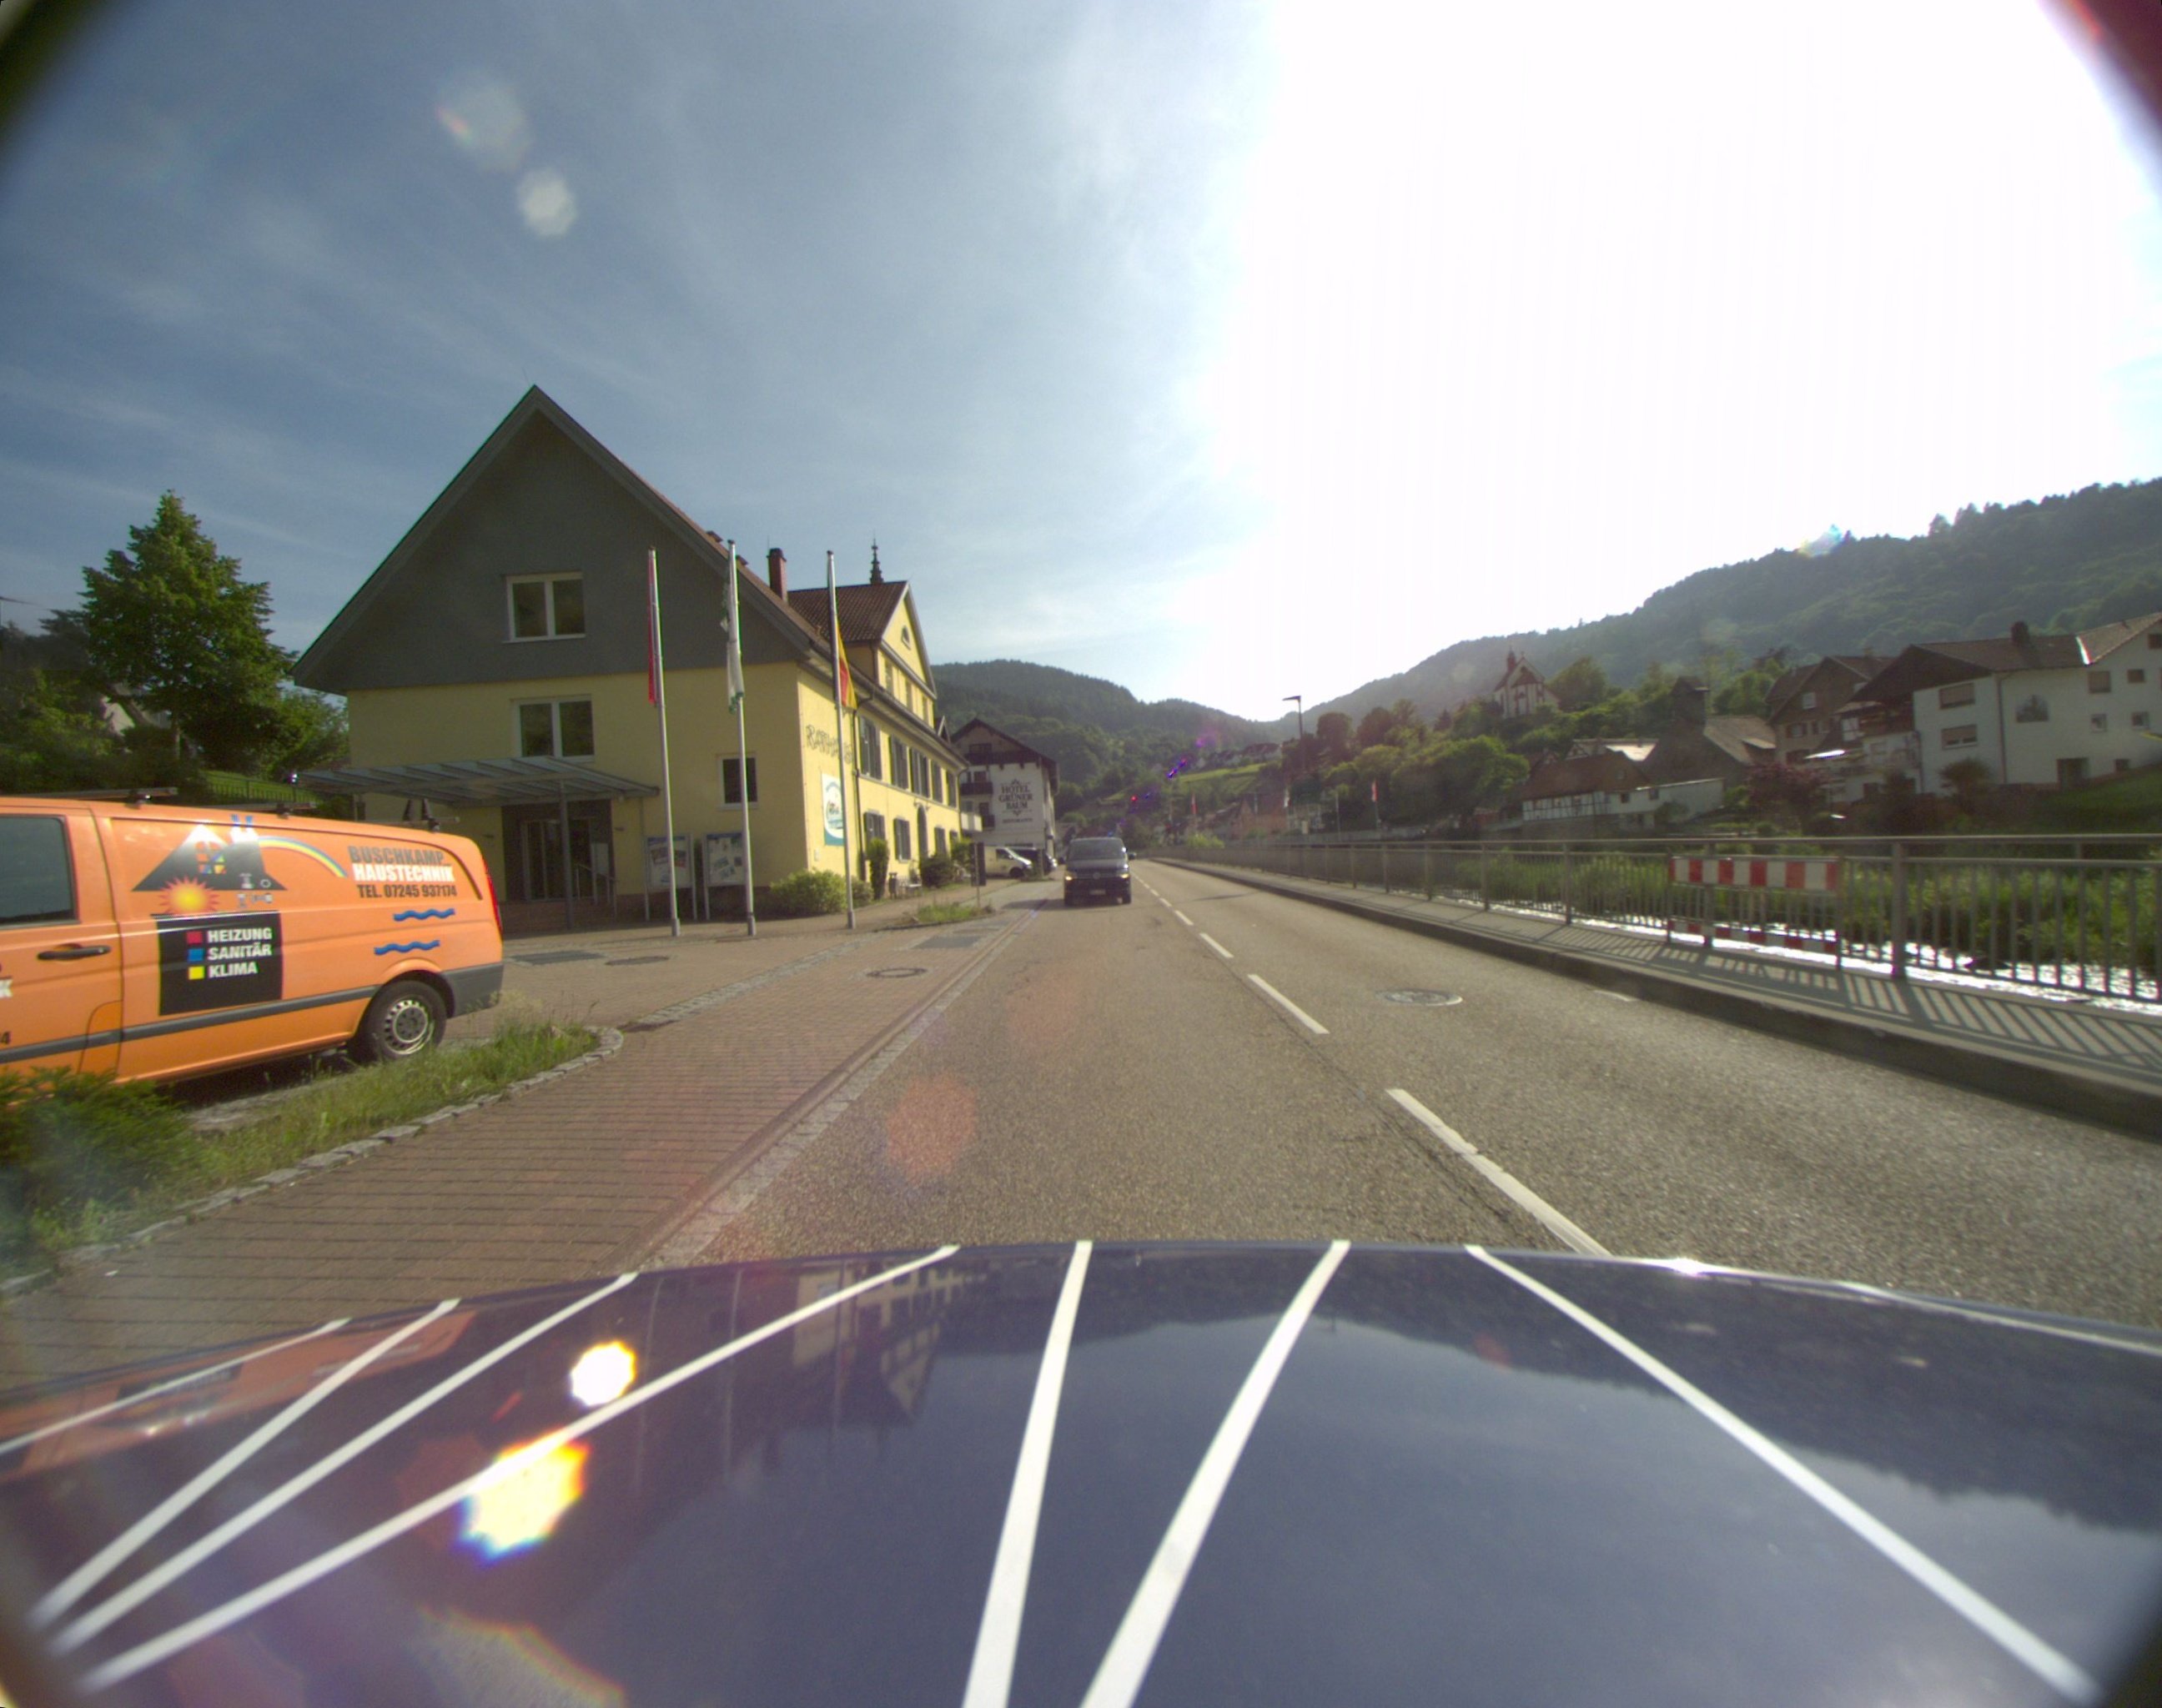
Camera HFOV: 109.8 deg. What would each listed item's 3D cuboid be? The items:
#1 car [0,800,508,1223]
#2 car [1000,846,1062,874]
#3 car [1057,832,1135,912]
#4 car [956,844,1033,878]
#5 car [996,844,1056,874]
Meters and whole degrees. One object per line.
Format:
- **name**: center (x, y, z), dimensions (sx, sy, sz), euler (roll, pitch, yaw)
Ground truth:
- **car**: center (-6.030, 0.772, 4.159), dimensions (1.913, 1.986, 4.835), euler (-2, 0, 2)
- **car**: center (-3.405, 0.385, 52.165), dimensions (3.995, 1.871, 1.685), euler (-1, 1, 5)
- **car**: center (0.489, 0.451, 21.999), dimensions (1.887, 1.952, 4.866), euler (-3, 0, 2)
- **car**: center (-5.298, 0.403, 46.882), dimensions (4.453, 1.947, 1.714), euler (2, 1, 4)
- **car**: center (-3.559, 0.341, 49.553), dimensions (3.755, 1.882, 1.372), euler (1, 1, 4)
